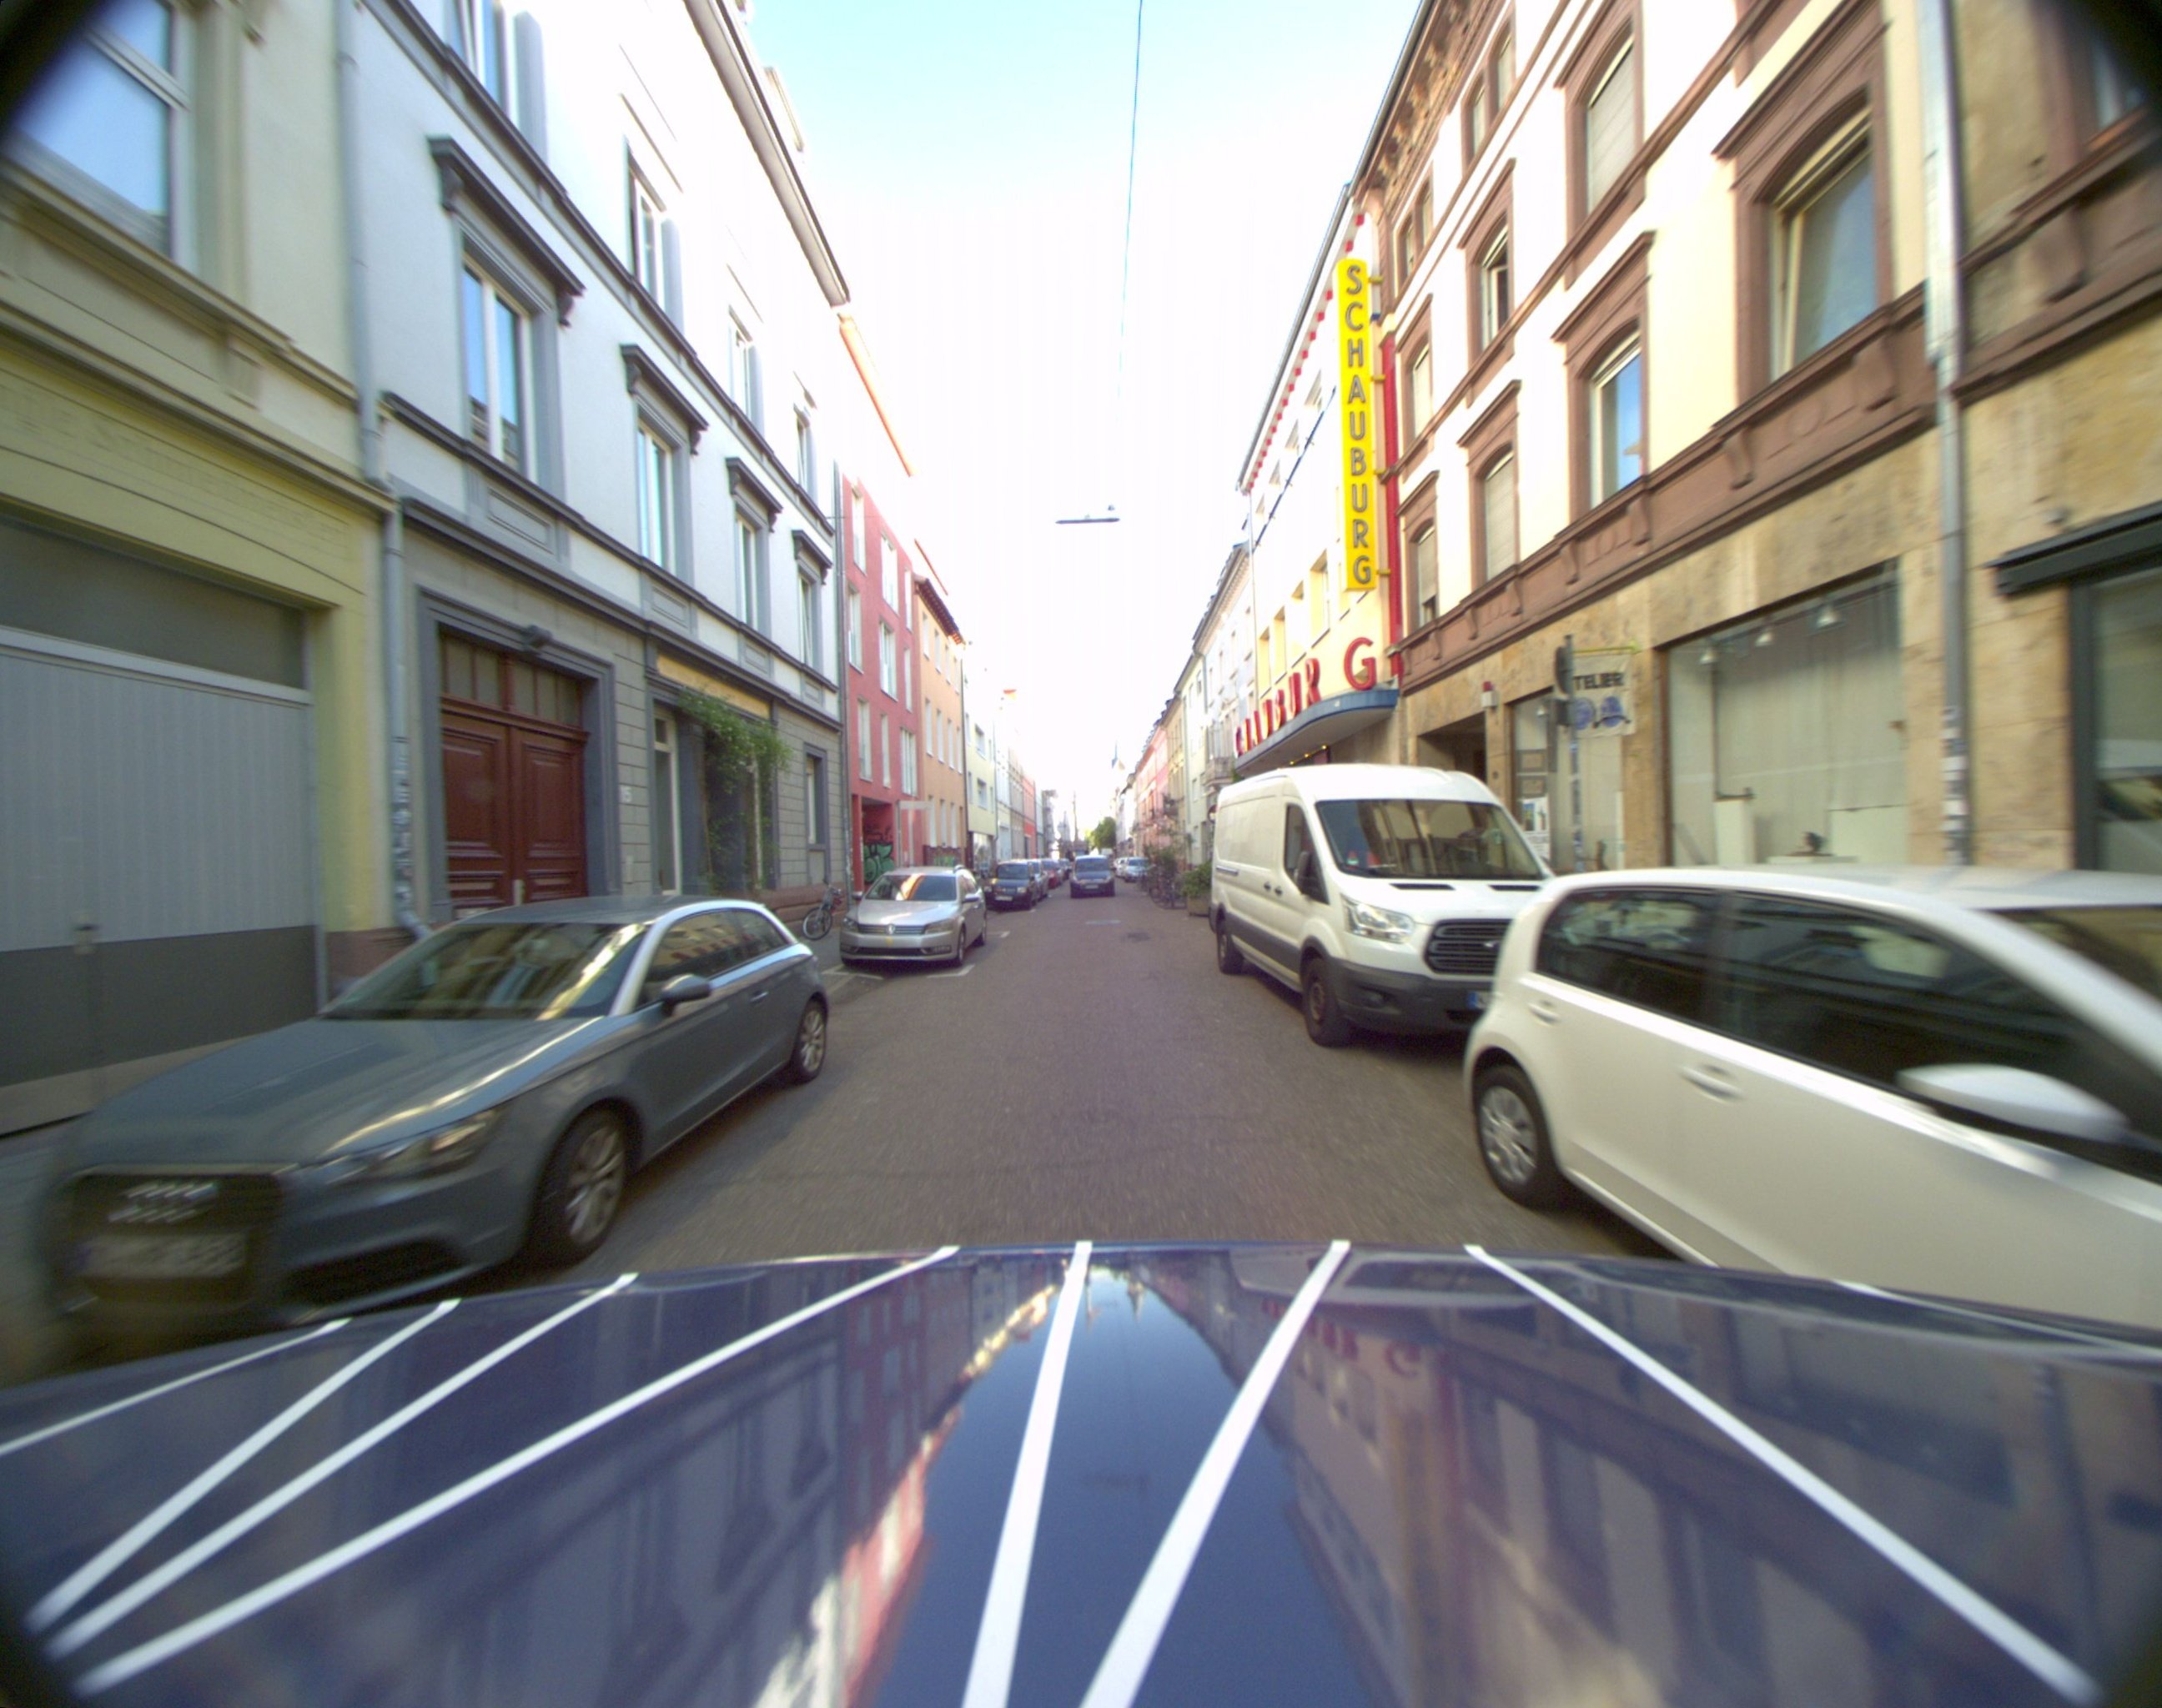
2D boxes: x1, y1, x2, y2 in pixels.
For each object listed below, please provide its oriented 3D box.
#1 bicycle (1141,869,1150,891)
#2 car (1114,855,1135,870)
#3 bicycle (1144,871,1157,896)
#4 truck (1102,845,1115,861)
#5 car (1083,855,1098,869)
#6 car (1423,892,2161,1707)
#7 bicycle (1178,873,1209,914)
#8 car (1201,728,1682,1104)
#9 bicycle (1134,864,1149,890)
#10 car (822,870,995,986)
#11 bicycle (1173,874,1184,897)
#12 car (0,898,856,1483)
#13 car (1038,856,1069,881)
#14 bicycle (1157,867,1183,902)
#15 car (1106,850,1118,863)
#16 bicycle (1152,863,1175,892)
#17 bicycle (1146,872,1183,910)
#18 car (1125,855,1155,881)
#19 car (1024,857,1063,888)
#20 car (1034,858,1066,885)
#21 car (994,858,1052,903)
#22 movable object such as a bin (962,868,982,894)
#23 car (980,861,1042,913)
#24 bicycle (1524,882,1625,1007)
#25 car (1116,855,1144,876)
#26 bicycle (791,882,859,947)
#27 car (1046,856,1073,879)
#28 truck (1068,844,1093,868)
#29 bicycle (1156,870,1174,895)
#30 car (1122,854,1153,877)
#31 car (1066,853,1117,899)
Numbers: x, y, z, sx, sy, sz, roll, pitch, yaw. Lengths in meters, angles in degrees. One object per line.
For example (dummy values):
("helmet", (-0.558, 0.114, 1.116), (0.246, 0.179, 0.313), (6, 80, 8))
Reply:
("bicycle", (2.797, 1.126, 32.895), (0.322, 0.911, 1.290), (-2, 0, 2))
("car", (4.157, 0.811, 73.303), (1.771, 1.335, 4.380), (0, 0, 0))
("bicycle", (2.696, 1.158, 29.651), (0.391, 0.911, 1.393), (-2, 0, 2))
("truck", (5.761, -0.244, 157.007), (2.524, 3.271, 6.643), (-2, 0, 2))
("car", (1.106, 0.868, 86.190), (1.644, 1.528, 3.842), (-2, 0, 1))
("car", (2.609, 0.934, 1.999), (1.649, 1.438, 3.839), (-1, 0, -1))
("bicycle", (3.148, 1.082, 21.413), (0.443, 1.041, 1.864), (-3, 0, -3))
("car", (2.812, 0.400, 7.897), (2.173, 2.437, 5.921), (0, 0, 0))
("bicycle", (2.747, 1.023, 34.493), (0.500, 1.099, 1.830), (-3, 0, 1))
("car", (-2.613, 1.061, 12.649), (1.791, 1.446, 4.547), (1, 0, 0))
("bicycle", (3.763, 1.204, 29.428), (0.256, 0.813, 1.299), (-2, 0, 2))
("car", (-2.835, 1.121, 4.310), (1.752, 1.436, 4.172), (-2, 0, 1))
("car", (-1.776, 0.922, 50.213), (1.794, 1.542, 4.000), (-1, 0, 1))
("bicycle", (3.036, 1.024, 26.012), (0.547, 1.087, 1.881), (-3, 0, -3))
("car", (5.222, 0.405, 128.369), (1.998, 2.002, 4.258), (-1, 0, 2))
("bicycle", (3.550, 1.012, 32.700), (0.815, 1.168, 0.920), (-2, 0, -1))
("bicycle", (2.449, 1.074, 22.492), (0.462, 1.041, 1.748), (-3, 0, -15))
("car", (3.528, 0.804, 45.491), (1.684, 1.446, 4.035), (-1, 0, 4))
("car", (-1.943, 0.938, 40.118), (1.701, 1.514, 3.981), (0, 0, 2))
("car", (-1.774, 0.997, 44.694), (1.692, 1.444, 4.193), (0, 0, 0))
("car", (-2.179, 0.970, 29.662), (1.750, 1.547, 4.172), (-2, 0, 2))
("movable object such as a bin", (-4.579, 1.127, 31.898), (0.694, 1.052, 0.736), (1, 1, 2))
("car", (-2.233, 1.016, 24.976), (1.606, 1.530, 3.450), (1, 0, 2))
("bicycle", (4.448, 0.785, 6.889), (0.223, 1.030, 0.846), (-2, 0, -10))
("car", (3.563, 0.800, 56.000), (1.792, 1.454, 4.200), (-1, 0, 0))
("bicycle", (-4.958, 1.143, 14.858), (0.712, 1.091, 1.900), (1, 1, -1))
("car", (-1.538, 0.947, 55.735), (1.766, 1.513, 4.380), (-3, 0, 1))
("truck", (-0.031, 0.264, 94.895), (2.819, 2.735, 7.678), (-3, 0, 0))
("bicycle", (3.311, 1.117, 29.989), (0.555, 0.938, 1.572), (-2, 0, 2))
("car", (3.768, 0.751, 50.984), (1.794, 1.443, 4.000), (-1, 0, 0))
("car", (0.422, 0.805, 30.026), (1.832, 1.650, 4.213), (-1, 0, 1))
